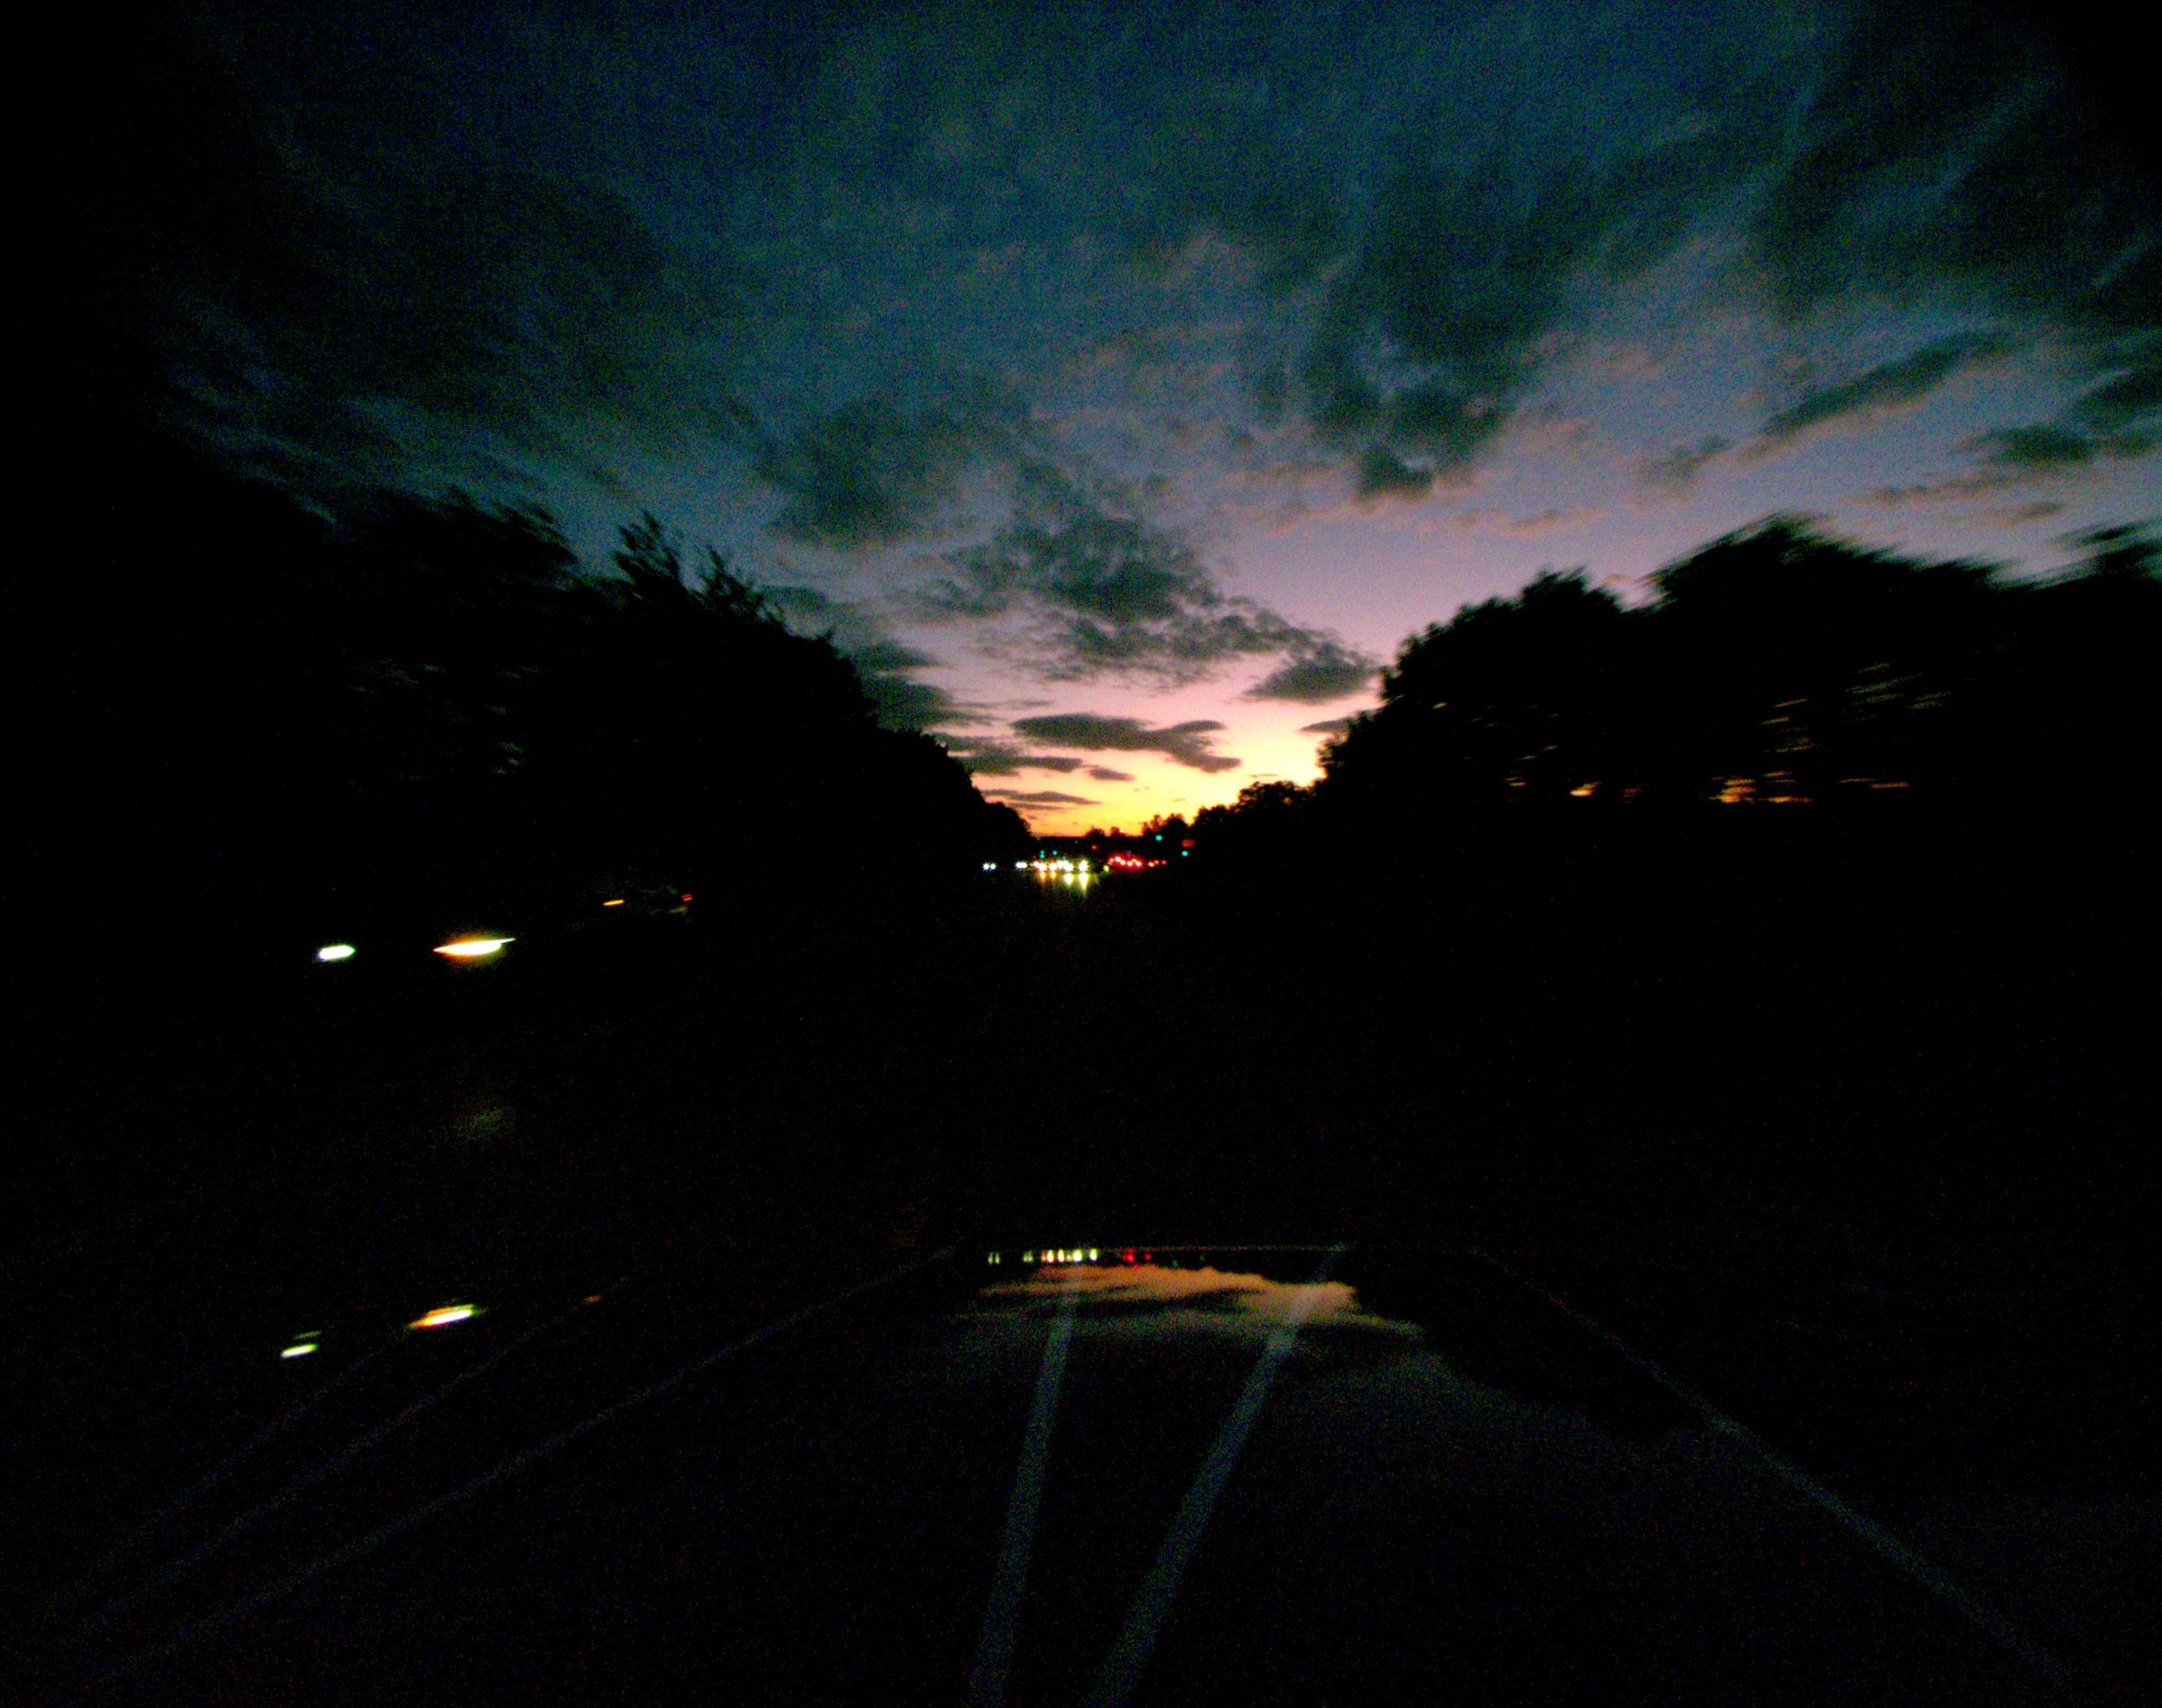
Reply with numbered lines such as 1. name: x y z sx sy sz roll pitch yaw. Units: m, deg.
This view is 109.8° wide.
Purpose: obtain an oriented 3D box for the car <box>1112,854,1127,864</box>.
1. car: 5.818 0.763 115.385 1.998 1.560 4.822 1 0 0

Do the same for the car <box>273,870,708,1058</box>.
1. car: -6.523 1.051 9.254 1.906 1.610 4.555 -1 0 -3

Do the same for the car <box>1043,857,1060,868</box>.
1. car: -3.803 1.091 97.299 1.999 1.444 3.999 1 0 -3

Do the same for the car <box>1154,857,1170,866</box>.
1. car: 12.962 1.249 122.201 1.999 1.444 4.734 0 0 -1

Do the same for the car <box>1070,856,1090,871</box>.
1. car: -0.079 0.993 78.445 1.998 1.444 4.734 -1 0 0

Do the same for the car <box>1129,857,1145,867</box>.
1. car: 9.146 1.300 124.211 1.999 1.672 4.871 0 1 -3

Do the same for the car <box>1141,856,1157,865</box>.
1. car: 11.410 1.059 128.003 1.999 1.444 4.734 0 -1 -2
